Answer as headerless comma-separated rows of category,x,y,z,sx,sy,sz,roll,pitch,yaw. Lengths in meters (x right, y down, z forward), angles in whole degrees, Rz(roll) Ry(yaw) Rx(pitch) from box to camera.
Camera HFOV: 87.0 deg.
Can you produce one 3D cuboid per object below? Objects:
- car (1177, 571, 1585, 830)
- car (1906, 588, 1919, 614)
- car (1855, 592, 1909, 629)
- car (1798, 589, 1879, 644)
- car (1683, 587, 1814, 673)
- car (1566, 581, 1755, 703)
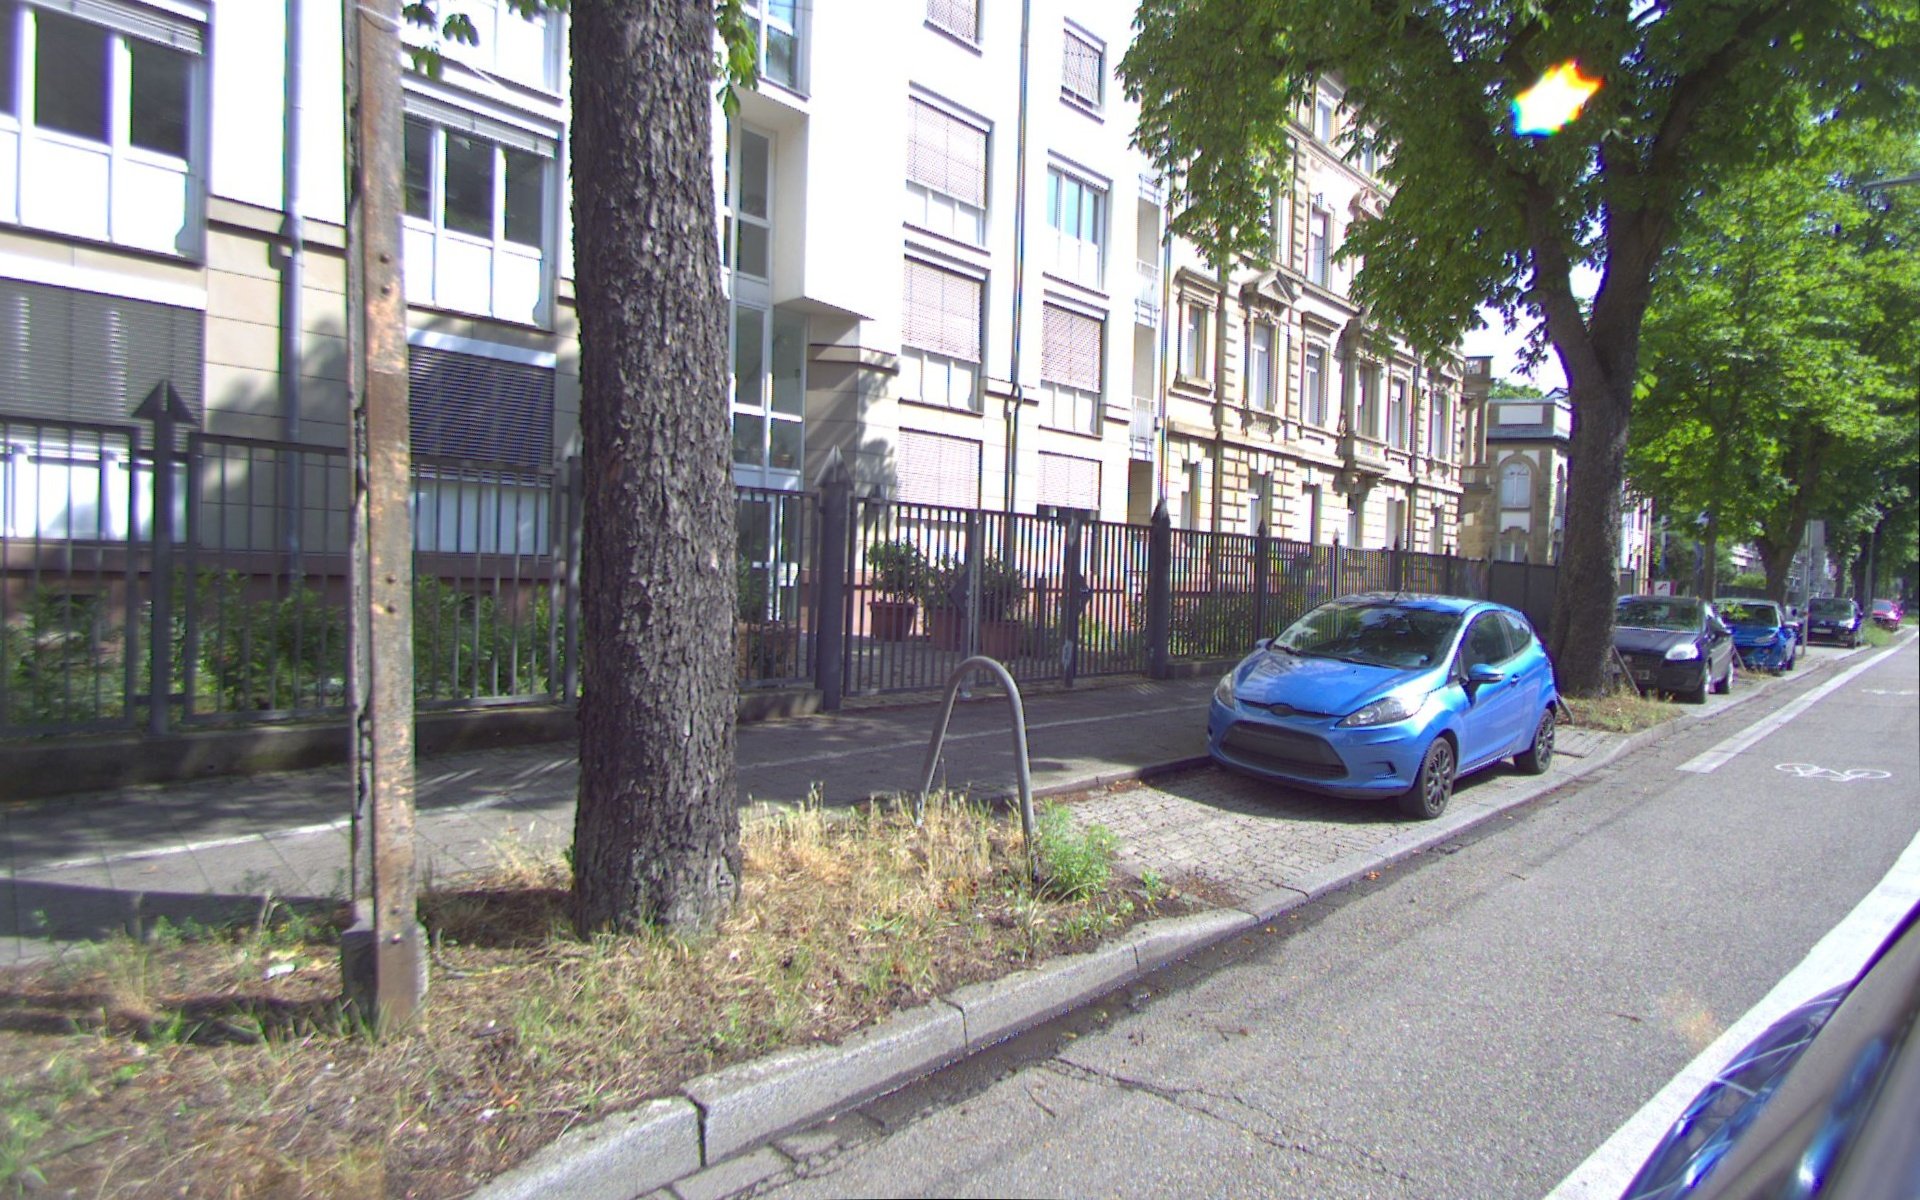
car,3.487,0.604,8.077,3.601,1.493,1.644,0,5,-44
car,63.246,0.086,66.283,1.741,1.592,3.867,7,5,44
car,45.421,0.497,49.815,1.741,1.592,3.867,7,5,44
car,29.404,0.512,33.841,1.741,1.592,3.602,7,5,44
car,16.389,0.553,20.977,1.676,1.493,3.602,7,5,44
car,10.641,0.540,15.281,1.676,1.493,3.602,7,5,44
